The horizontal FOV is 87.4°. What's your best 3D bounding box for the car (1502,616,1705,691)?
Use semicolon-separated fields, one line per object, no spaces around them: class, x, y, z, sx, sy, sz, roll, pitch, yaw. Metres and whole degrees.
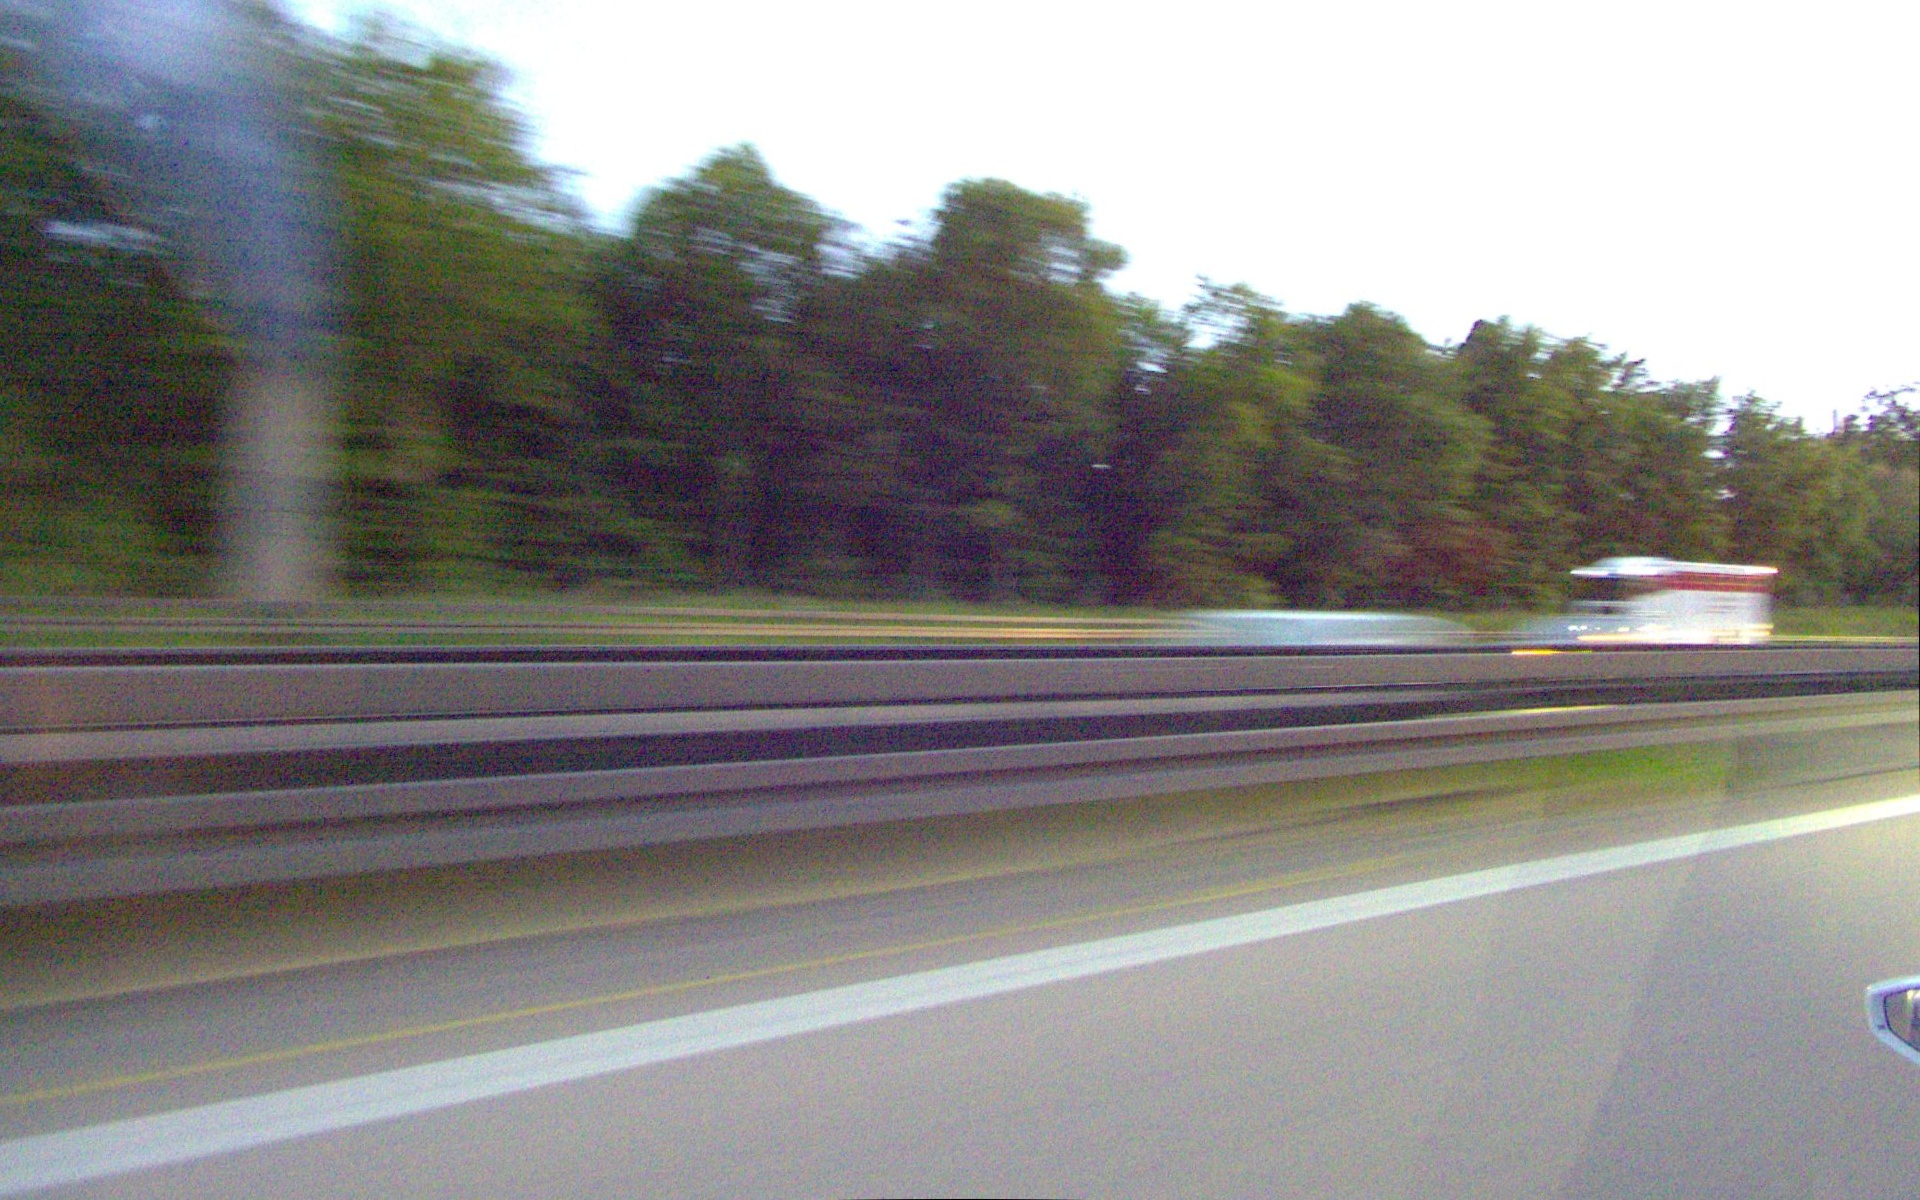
car;13.785;1.103;21.438;4.751;1.429;1.729;1;0;-31

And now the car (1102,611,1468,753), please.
car;4.082;0.913;12.476;4.322;1.456;1.983;1;0;-31

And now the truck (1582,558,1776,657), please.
truck;32.222;0.439;44.843;10.412;4.064;2.634;1;0;-28
